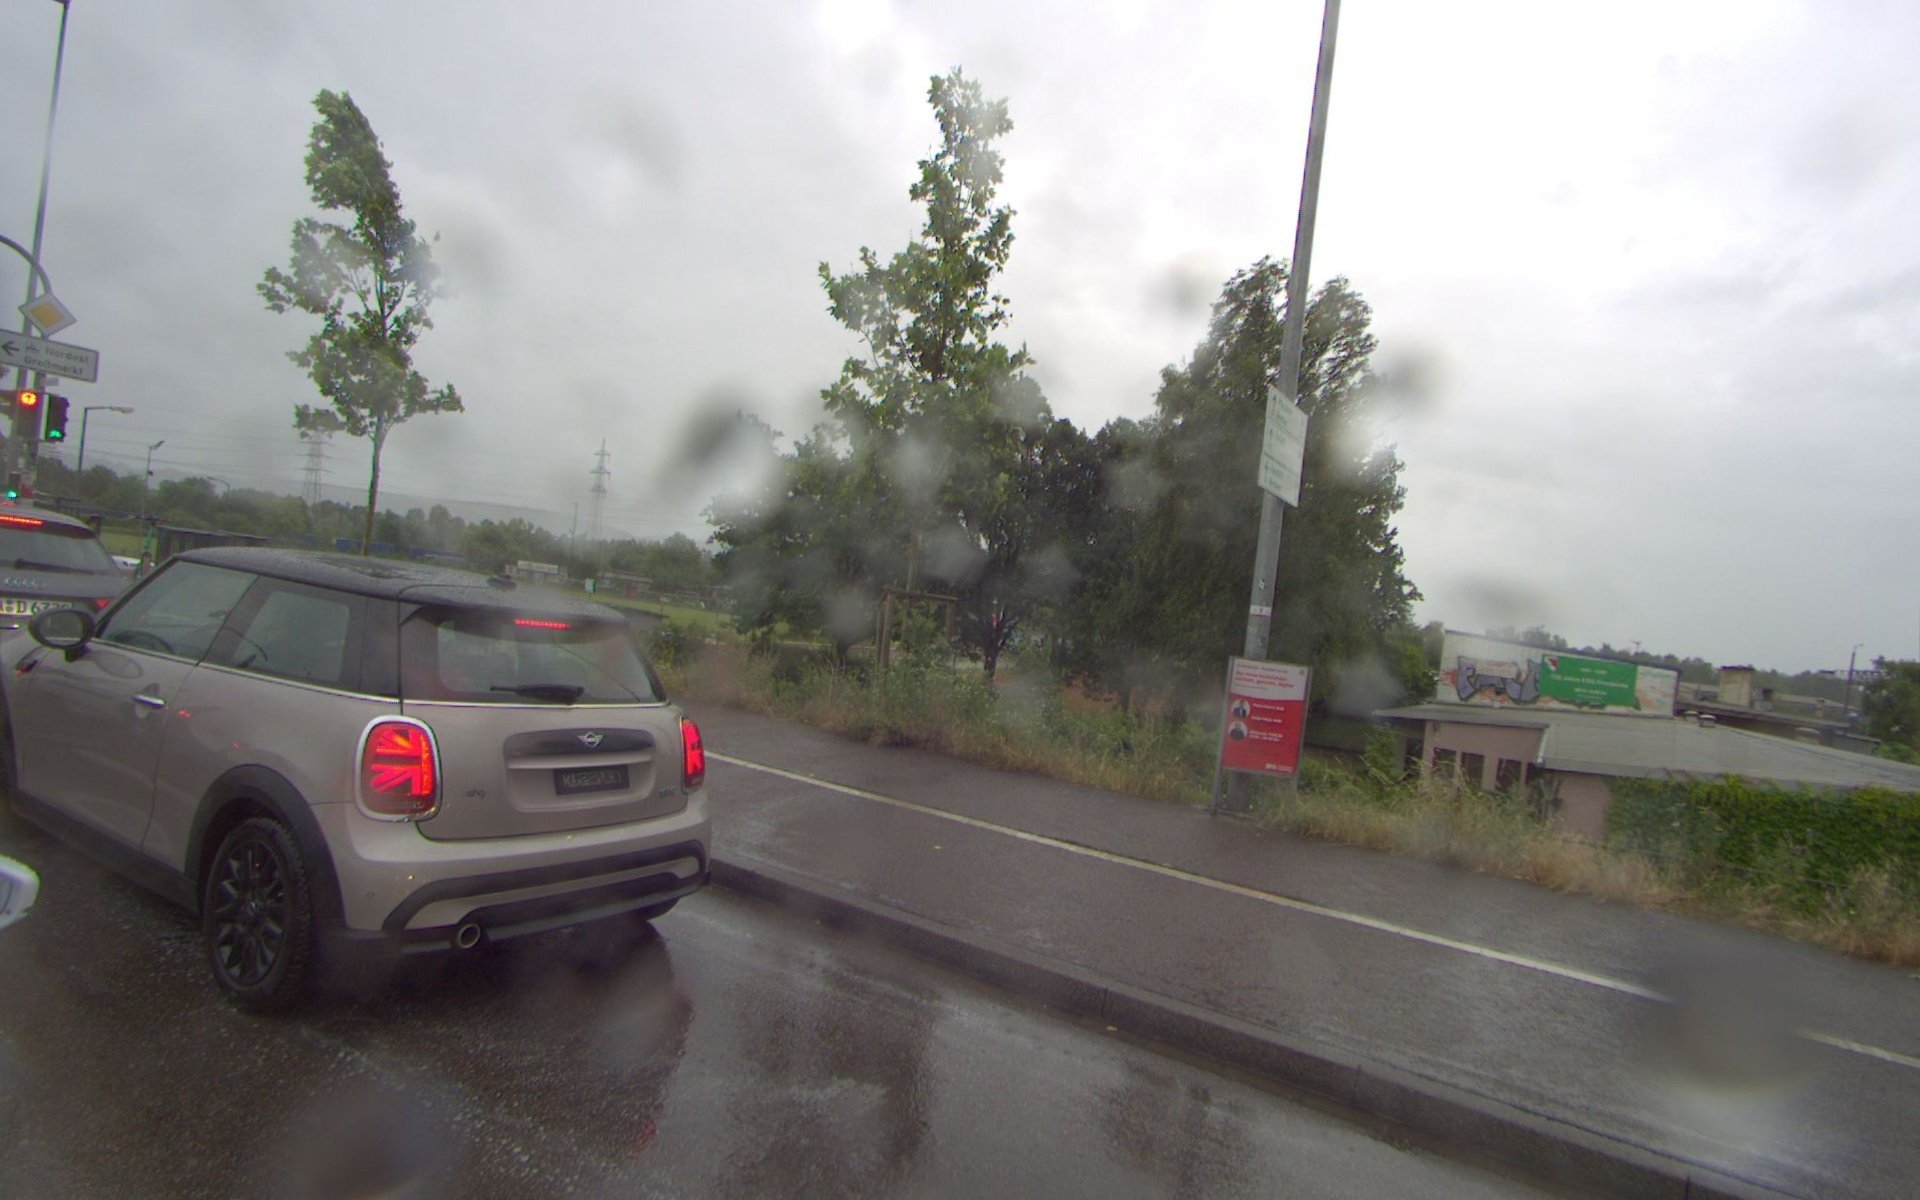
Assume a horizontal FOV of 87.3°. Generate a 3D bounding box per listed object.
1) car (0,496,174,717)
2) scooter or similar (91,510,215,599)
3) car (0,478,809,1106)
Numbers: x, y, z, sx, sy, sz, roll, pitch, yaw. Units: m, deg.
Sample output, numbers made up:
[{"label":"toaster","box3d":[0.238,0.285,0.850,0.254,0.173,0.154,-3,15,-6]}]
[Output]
[{"label":"car","box3d":[-7.496,-0.091,7.235,3.569,1.383,1.600,5,-1,30]},{"label":"scooter or similar","box3d":[-13.873,-0.801,17.249,2.971,1.226,0.691,7,0,33]},{"label":"car","box3d":[-2.763,0.468,4.337,3.815,1.524,1.707,7,-4,32]}]
